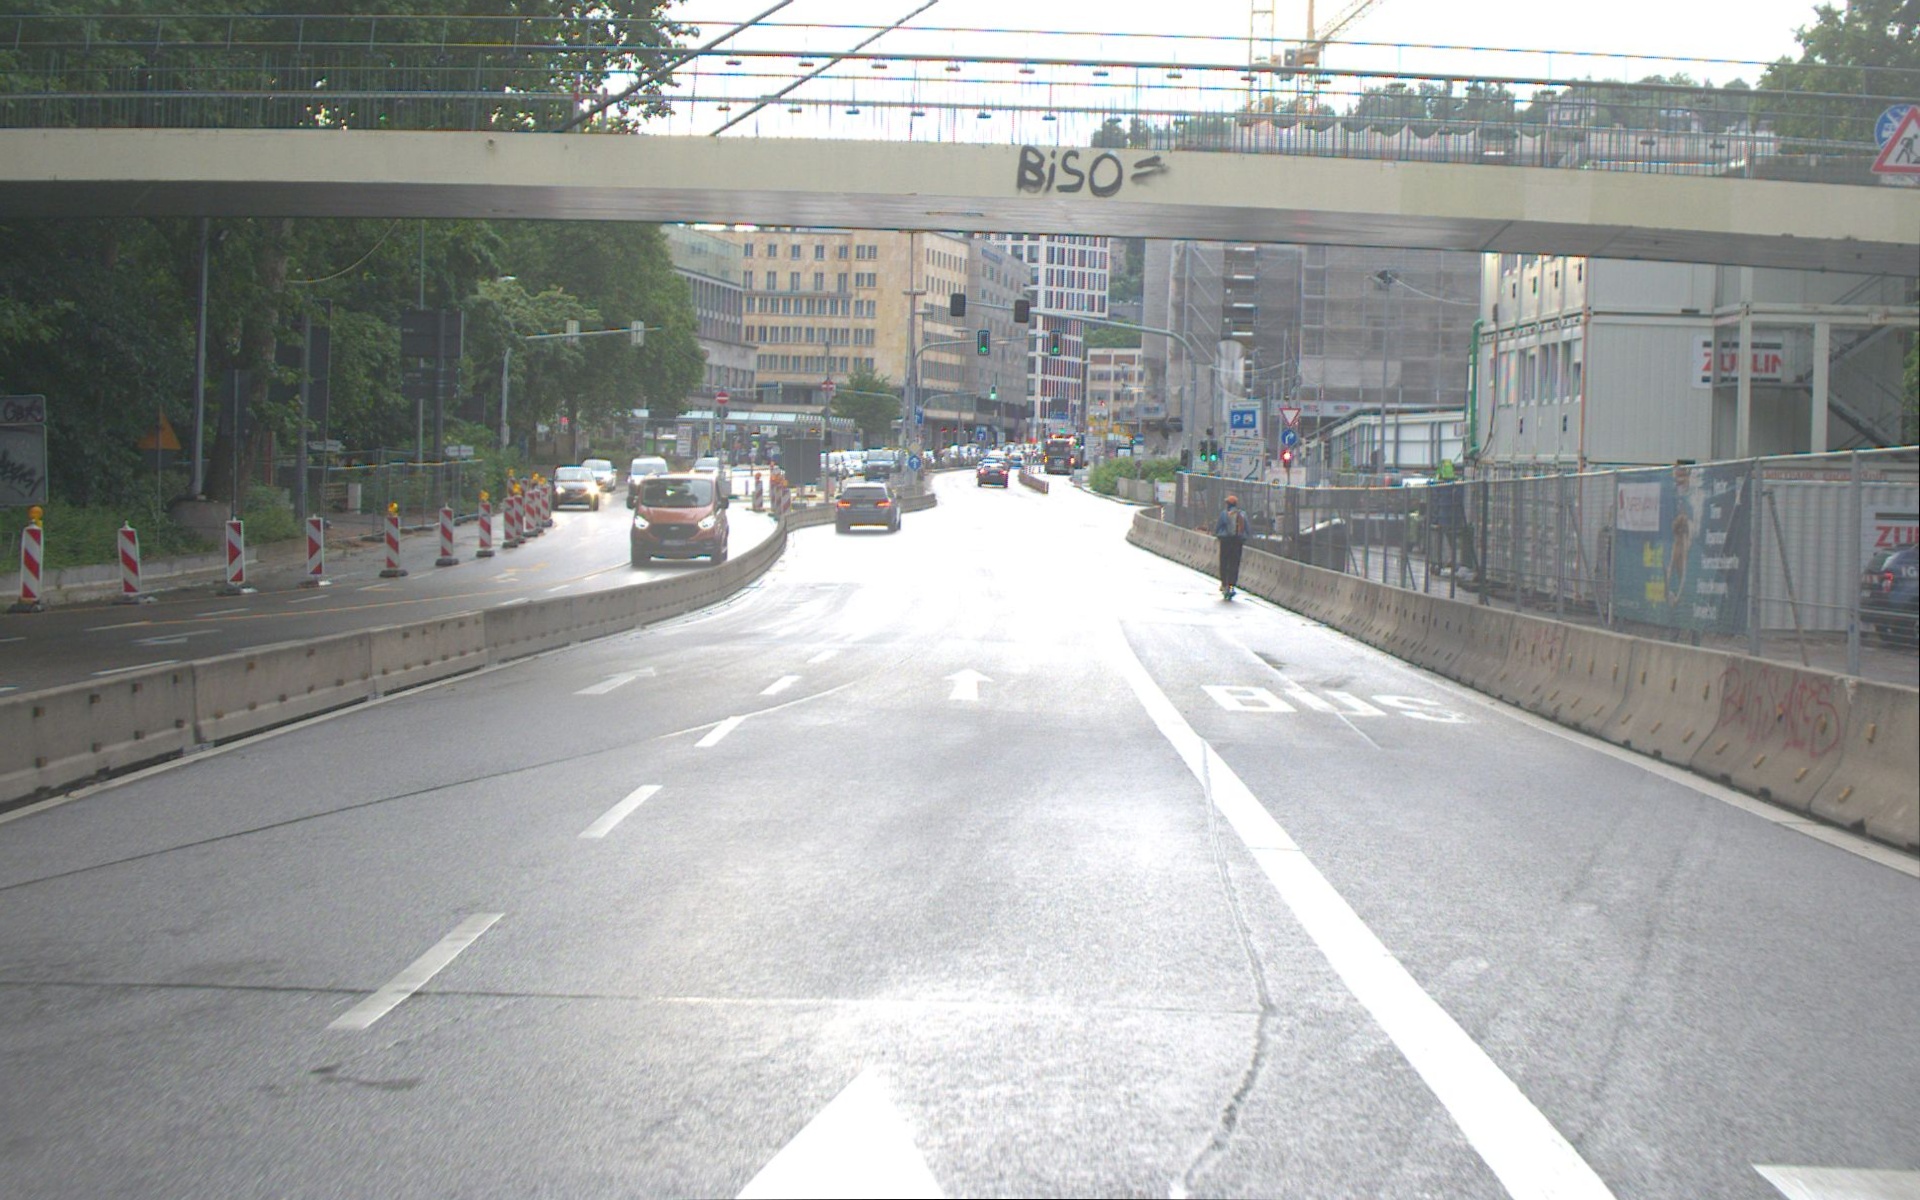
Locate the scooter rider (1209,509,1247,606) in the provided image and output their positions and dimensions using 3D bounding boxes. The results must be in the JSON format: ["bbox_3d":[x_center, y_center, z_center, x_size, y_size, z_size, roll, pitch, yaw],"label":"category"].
[{"bbox_3d":[5.052,-0.802,64.784,0.597,1.779,0.997,2,2,2],"label":"scooter rider"}]

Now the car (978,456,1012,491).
[{"bbox_3d":[2.097,-7.560,205.733,1.993,2.007,4.000,0,0,1],"label":"car"}]

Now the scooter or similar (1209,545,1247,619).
[{"bbox_3d":[5.041,-0.353,64.819,0.597,1.314,1.667,2,2,2],"label":"scooter or similar"}]

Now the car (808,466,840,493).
[{"bbox_3d":[-8.273,-7.313,208.618,1.902,1.523,4.178,0,0,-3],"label":"car"}]

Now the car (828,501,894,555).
[{"bbox_3d":[-2.969,-2.137,102.541,1.902,1.523,4.178,0,0,-3],"label":"car"}]

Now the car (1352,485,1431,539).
[{"bbox_3d":[16.976,-3.490,135.459,1.911,1.968,5.164,2,2,-5],"label":"car"}]

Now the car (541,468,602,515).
[{"bbox_3d":[-14.757,-4.132,130.516,2.030,1.647,4.320,1,3,-10],"label":"car"}]

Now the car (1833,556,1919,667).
[{"bbox_3d":[16.234,0.229,53.924,4.542,1.623,1.788,2,2,-2],"label":"car"}]

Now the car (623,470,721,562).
[{"bbox_3d":[-6.500,-1.855,77.197,2.030,1.930,5.045,0,0,-7],"label":"car"}]

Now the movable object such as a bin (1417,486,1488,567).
[{"bbox_3d":[14.061,-2.101,98.107,1.456,2.195,1.266,1,4,-23],"label":"movable object such as a bin"}]
